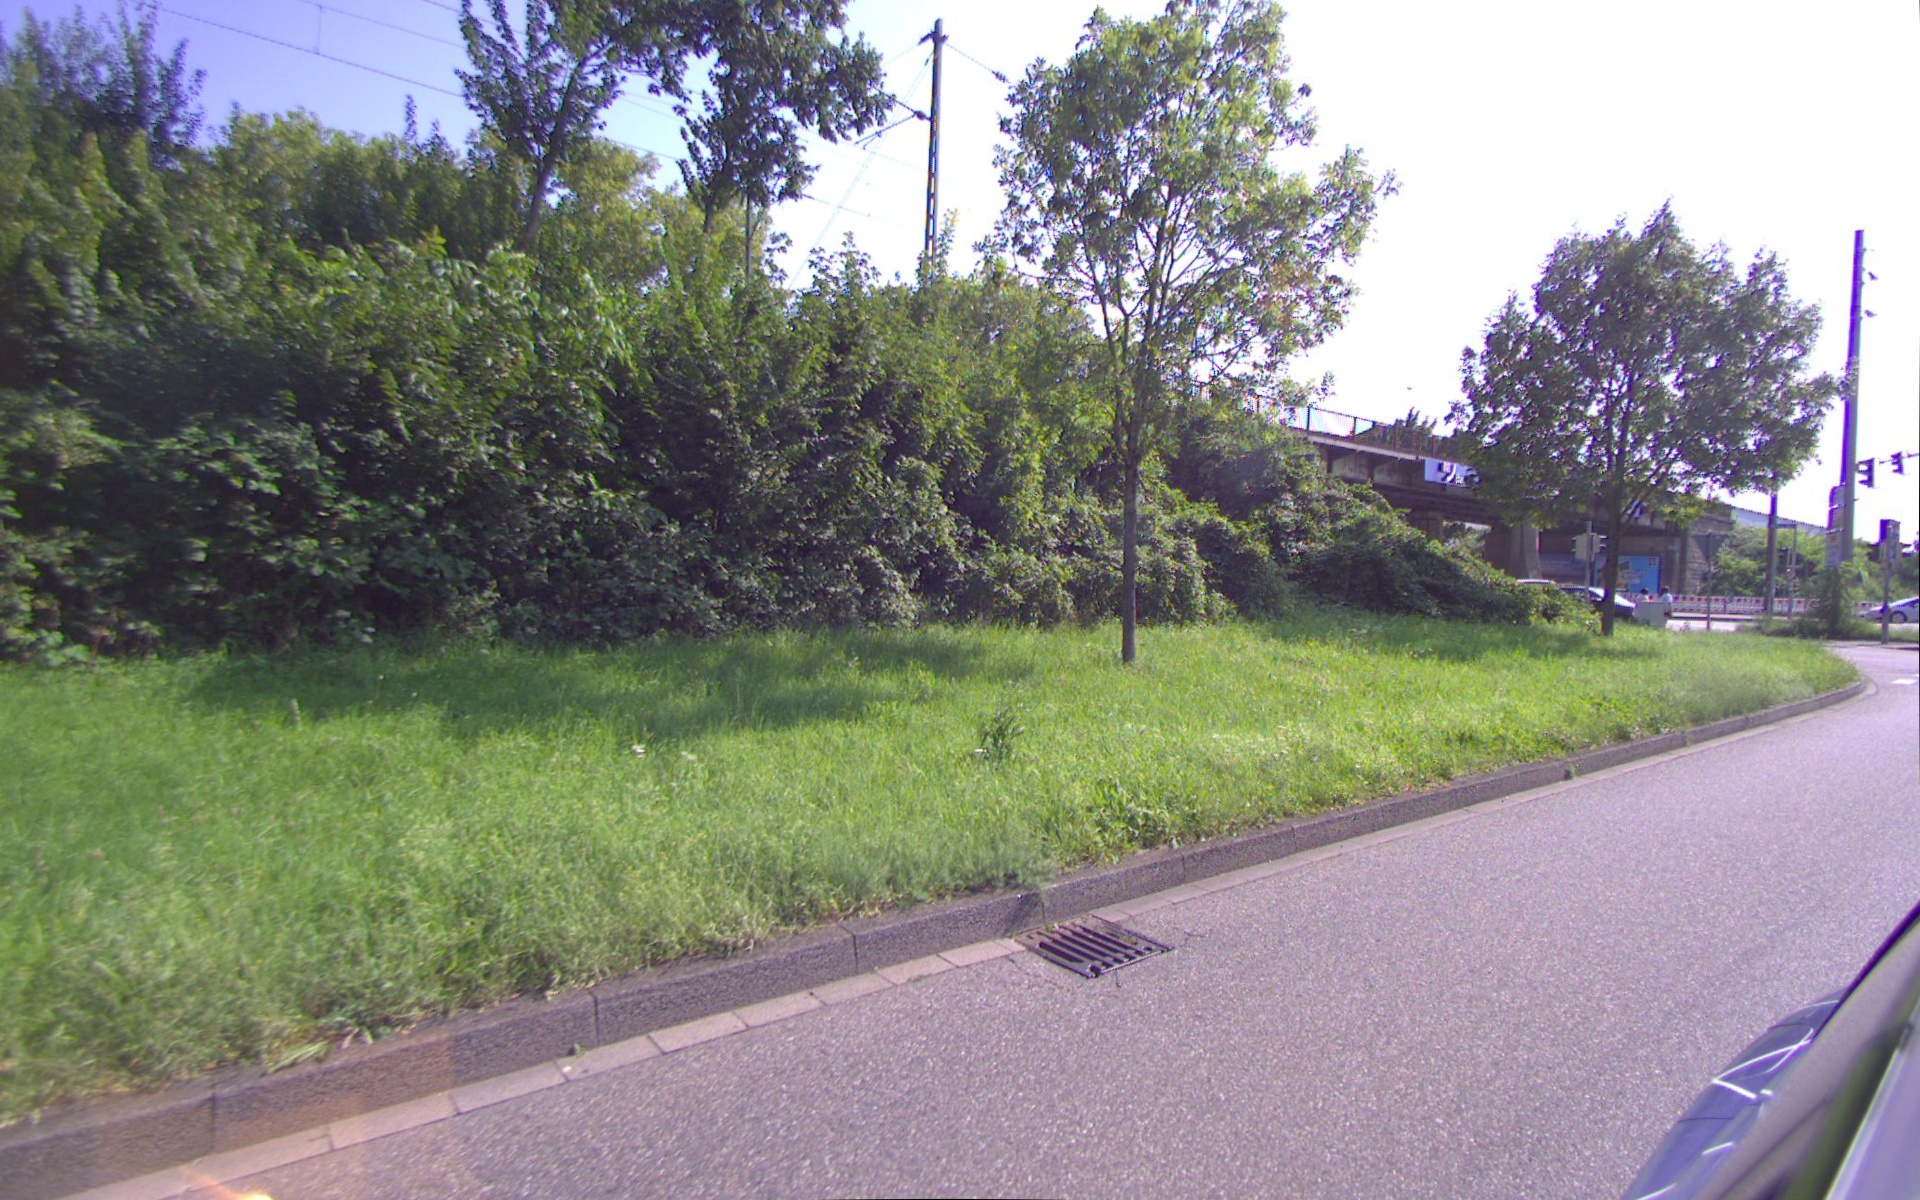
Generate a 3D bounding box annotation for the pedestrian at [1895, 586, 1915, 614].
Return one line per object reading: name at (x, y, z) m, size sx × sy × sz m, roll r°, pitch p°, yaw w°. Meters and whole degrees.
pedestrian at (53.983, -0.011, 57.824) m, size 0.626 × 1.594 × 0.488 m, roll 1°, pitch 1°, yaw 15°

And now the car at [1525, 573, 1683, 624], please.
car at (21.946, -0.100, 34.671) m, size 1.832 × 1.552 × 4.203 m, roll 1°, pitch 2°, yaw -25°

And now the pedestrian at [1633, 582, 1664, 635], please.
pedestrian at (20.896, 0.256, 30.712) m, size 0.563 × 1.586 × 0.535 m, roll 1°, pitch 1°, yaw 11°

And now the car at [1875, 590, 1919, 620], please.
car at (51.603, 0.296, 52.822) m, size 5.351 × 1.464 × 1.852 m, roll 1°, pitch 1°, yaw 14°

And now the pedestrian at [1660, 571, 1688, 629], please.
pedestrian at (20.991, -0.007, 29.755) m, size 0.486 × 1.702 × 0.567 m, roll 2°, pitch 1°, yaw 21°

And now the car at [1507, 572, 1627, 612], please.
car at (26.872, -0.387, 44.958) m, size 4.162 × 1.638 × 1.999 m, roll 2°, pitch 2°, yaw 19°

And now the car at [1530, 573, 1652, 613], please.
car at (26.135, -0.312, 42.036) m, size 3.945 × 1.470 × 1.609 m, roll 2°, pitch 2°, yaw 17°
